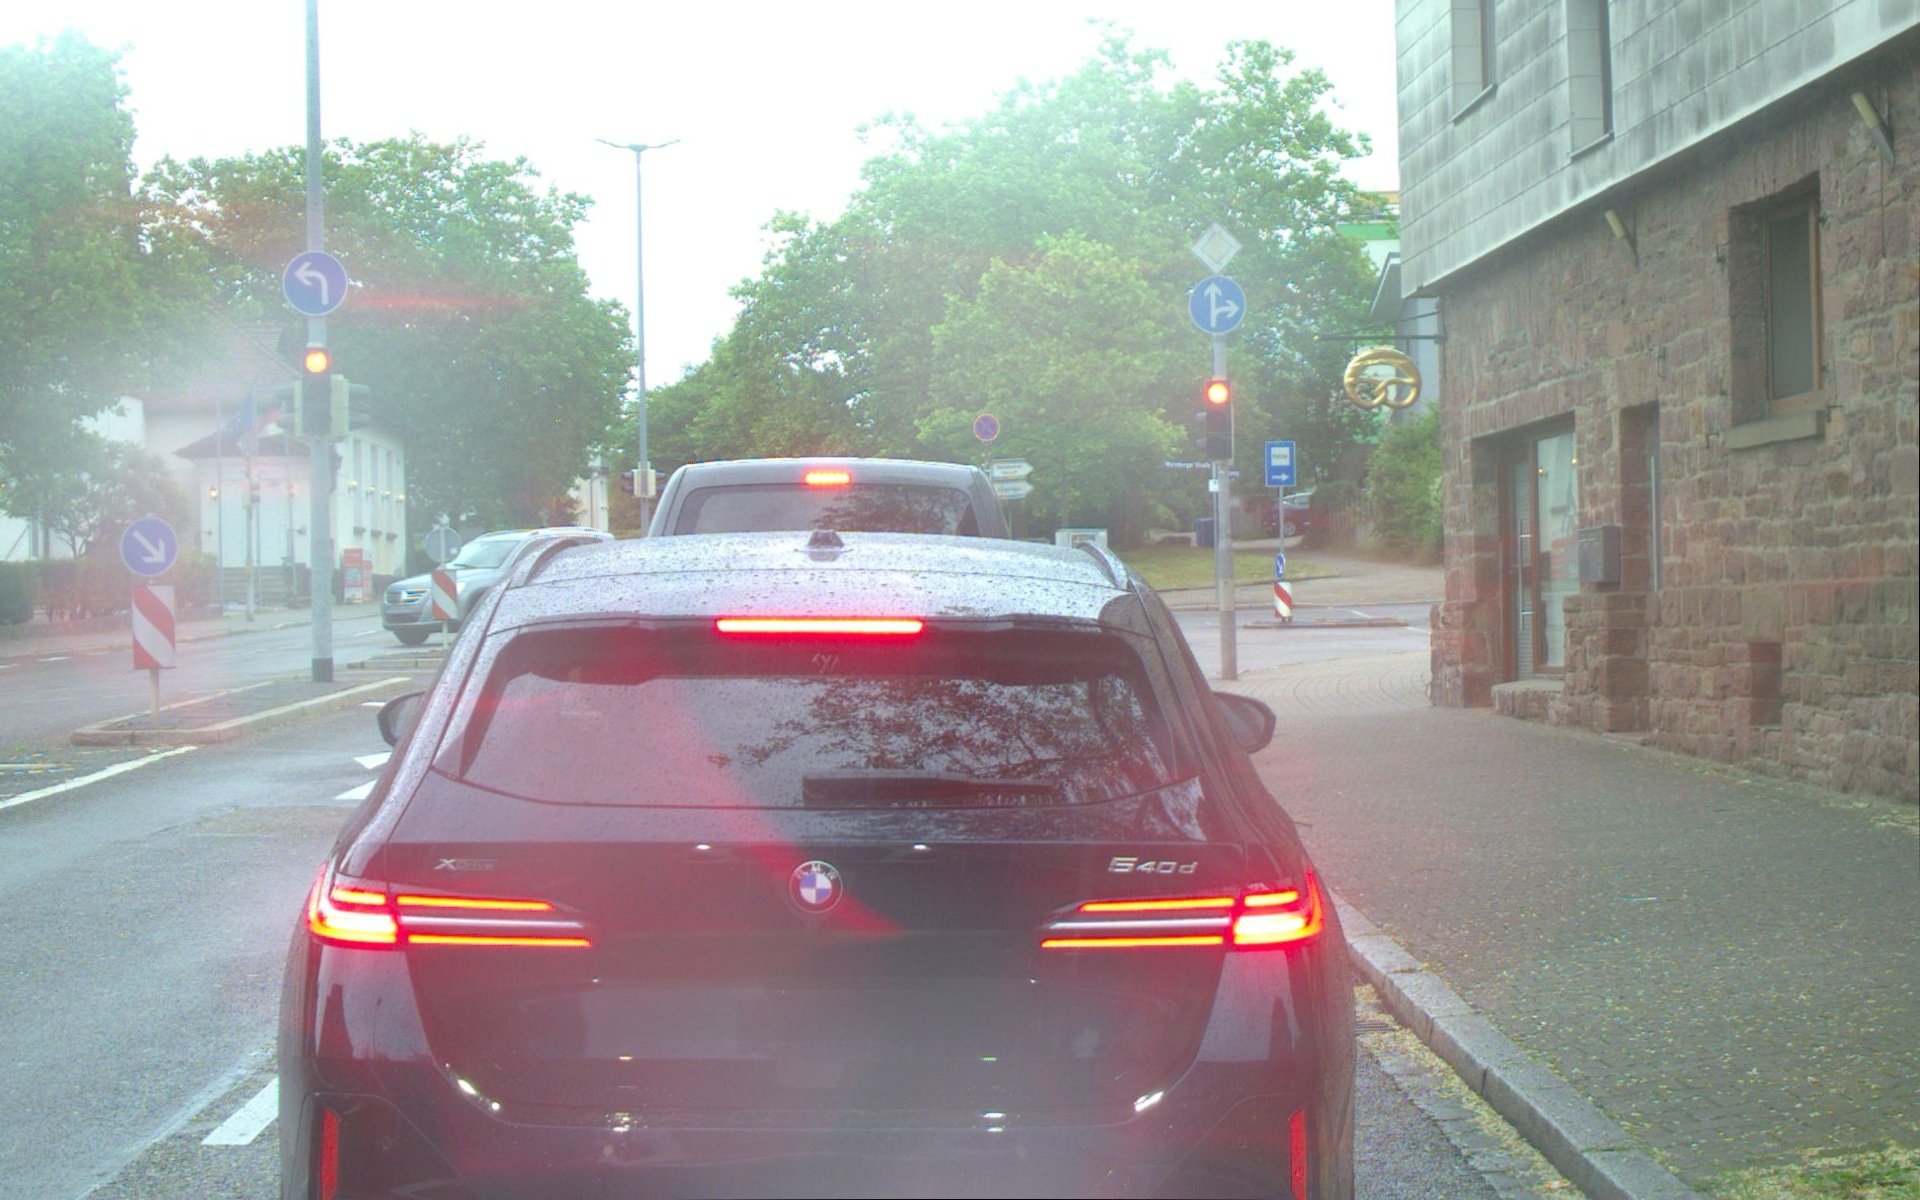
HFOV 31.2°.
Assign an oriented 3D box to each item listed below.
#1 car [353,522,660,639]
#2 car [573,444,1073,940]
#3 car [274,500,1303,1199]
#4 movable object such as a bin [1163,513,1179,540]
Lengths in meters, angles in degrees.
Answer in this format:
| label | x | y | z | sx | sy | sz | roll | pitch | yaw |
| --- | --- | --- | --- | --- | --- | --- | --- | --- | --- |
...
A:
| label | x | y | z | sx | sy | sz | roll | pitch | yaw |
| --- | --- | --- | --- | --- | --- | --- | --- | --- | --- |
| car | -6.740 | -0.311 | 51.438 | 1.913 | 1.585 | 4.307 | -1 | 1 | 41 |
| car | -0.616 | 0.323 | 14.502 | 1.812 | 1.802 | 3.757 | 1 | 0 | -4 |
| car | -0.362 | 0.609 | 6.902 | 1.523 | 1.529 | 3.532 | 1 | 0 | -4 |
| movable object such as a bin | 7.070 | -2.476 | 115.277 | 0.450 | 0.902 | 0.462 | 1 | 0 | 15 |
